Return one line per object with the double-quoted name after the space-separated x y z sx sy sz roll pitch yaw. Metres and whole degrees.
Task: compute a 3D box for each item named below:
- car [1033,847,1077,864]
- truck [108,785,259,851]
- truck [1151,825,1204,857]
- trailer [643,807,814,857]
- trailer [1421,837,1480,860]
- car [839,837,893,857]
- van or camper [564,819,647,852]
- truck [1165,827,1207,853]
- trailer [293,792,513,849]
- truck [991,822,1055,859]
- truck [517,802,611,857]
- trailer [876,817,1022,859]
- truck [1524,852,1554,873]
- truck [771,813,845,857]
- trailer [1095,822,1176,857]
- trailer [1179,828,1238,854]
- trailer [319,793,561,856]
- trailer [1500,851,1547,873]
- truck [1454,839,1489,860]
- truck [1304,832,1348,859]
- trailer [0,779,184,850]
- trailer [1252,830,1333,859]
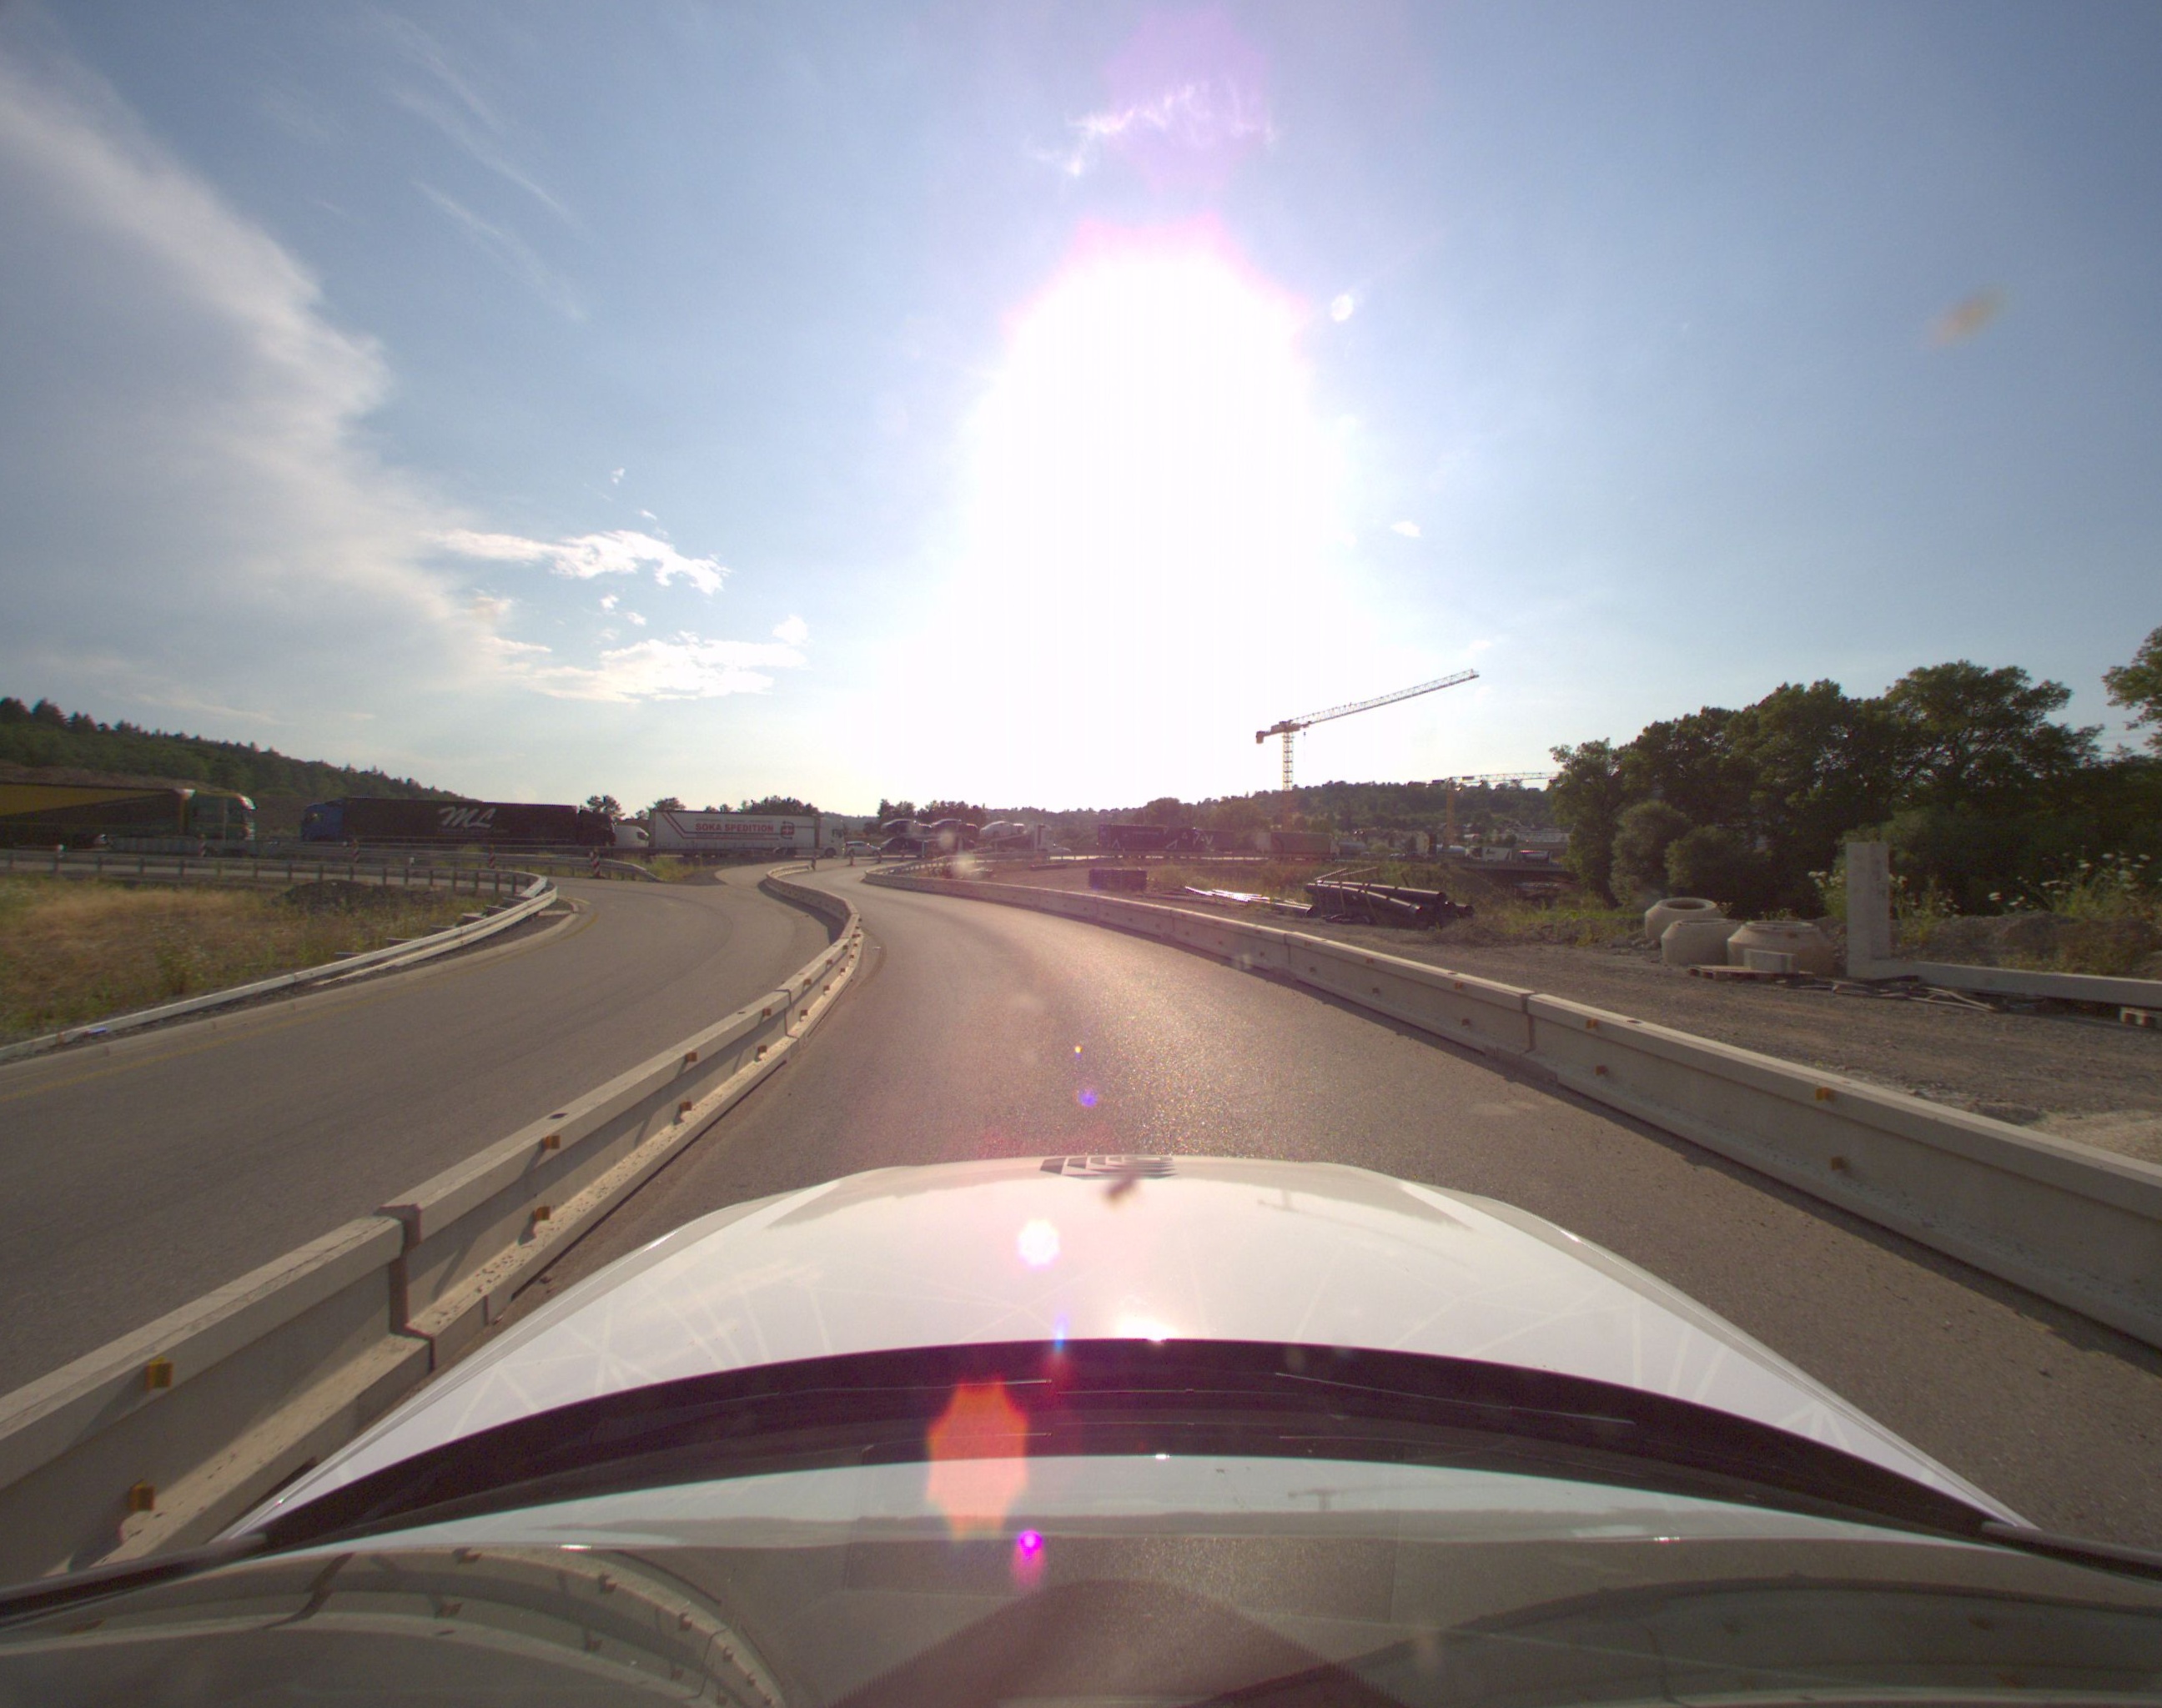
-3.154 0.171 98.880 5.002 1.980 2.013 1 2 -37 "car"
-57.049 -2.228 51.997 6.039 3.901 2.461 1 0 -38 "truck"
12.558 -1.616 106.143 6.654 3.996 2.862 1 0 -37 "truck"
-30.934 -1.812 72.228 13.695 3.878 2.460 1 0 -38 "trailer"
68.018 -0.941 149.603 14.814 3.996 3.358 1 0 -38 "trailer"
-22.108 -0.719 83.850 5.002 1.980 2.013 1 2 -37 "car"
-40.574 -1.536 69.547 5.928 2.619 1.979 1 1 -36 "van or camper"
15.655 -1.992 120.988 5.714 3.727 2.972 1 -1 -37 "truck"
-54.843 -2.591 66.629 13.539 3.996 2.834 1 0 -38 "trailer"
-6.480 -1.452 91.524 6.655 3.996 2.826 1 0 -38 "truck"
-40.916 -1.868 64.570 6.040 4.060 2.460 1 0 -38 "truck"
-13.588 -1.581 85.895 15.820 3.996 2.834 1 0 -38 "trailer"
97.049 1.881 172.611 6.655 4.285 3.073 1 0 -38 "truck"
-25.572 -1.740 76.479 6.040 3.878 2.460 1 0 -38 "truck"
6.917 -1.710 101.938 10.841 4.092 2.935 1 -1 -37 "trailer"
19.504 -1.930 123.947 9.613 3.752 2.983 1 -1 -37 "trailer"
-46.673 -1.986 60.123 13.695 4.061 2.460 1 0 -38 "trailer"
91.463 1.764 168.180 14.319 4.314 3.079 1 0 -38 "trailer"
74.133 -0.846 154.414 6.655 3.996 3.363 1 0 -38 "truck"
37.907 -1.242 126.031 6.655 3.996 3.316 1 0 -38 "truck"
-62.901 -2.355 47.408 14.040 3.958 2.461 1 0 -38 "trailer"
31.678 -1.362 121.174 14.814 3.996 3.358 1 0 -38 "trailer"
